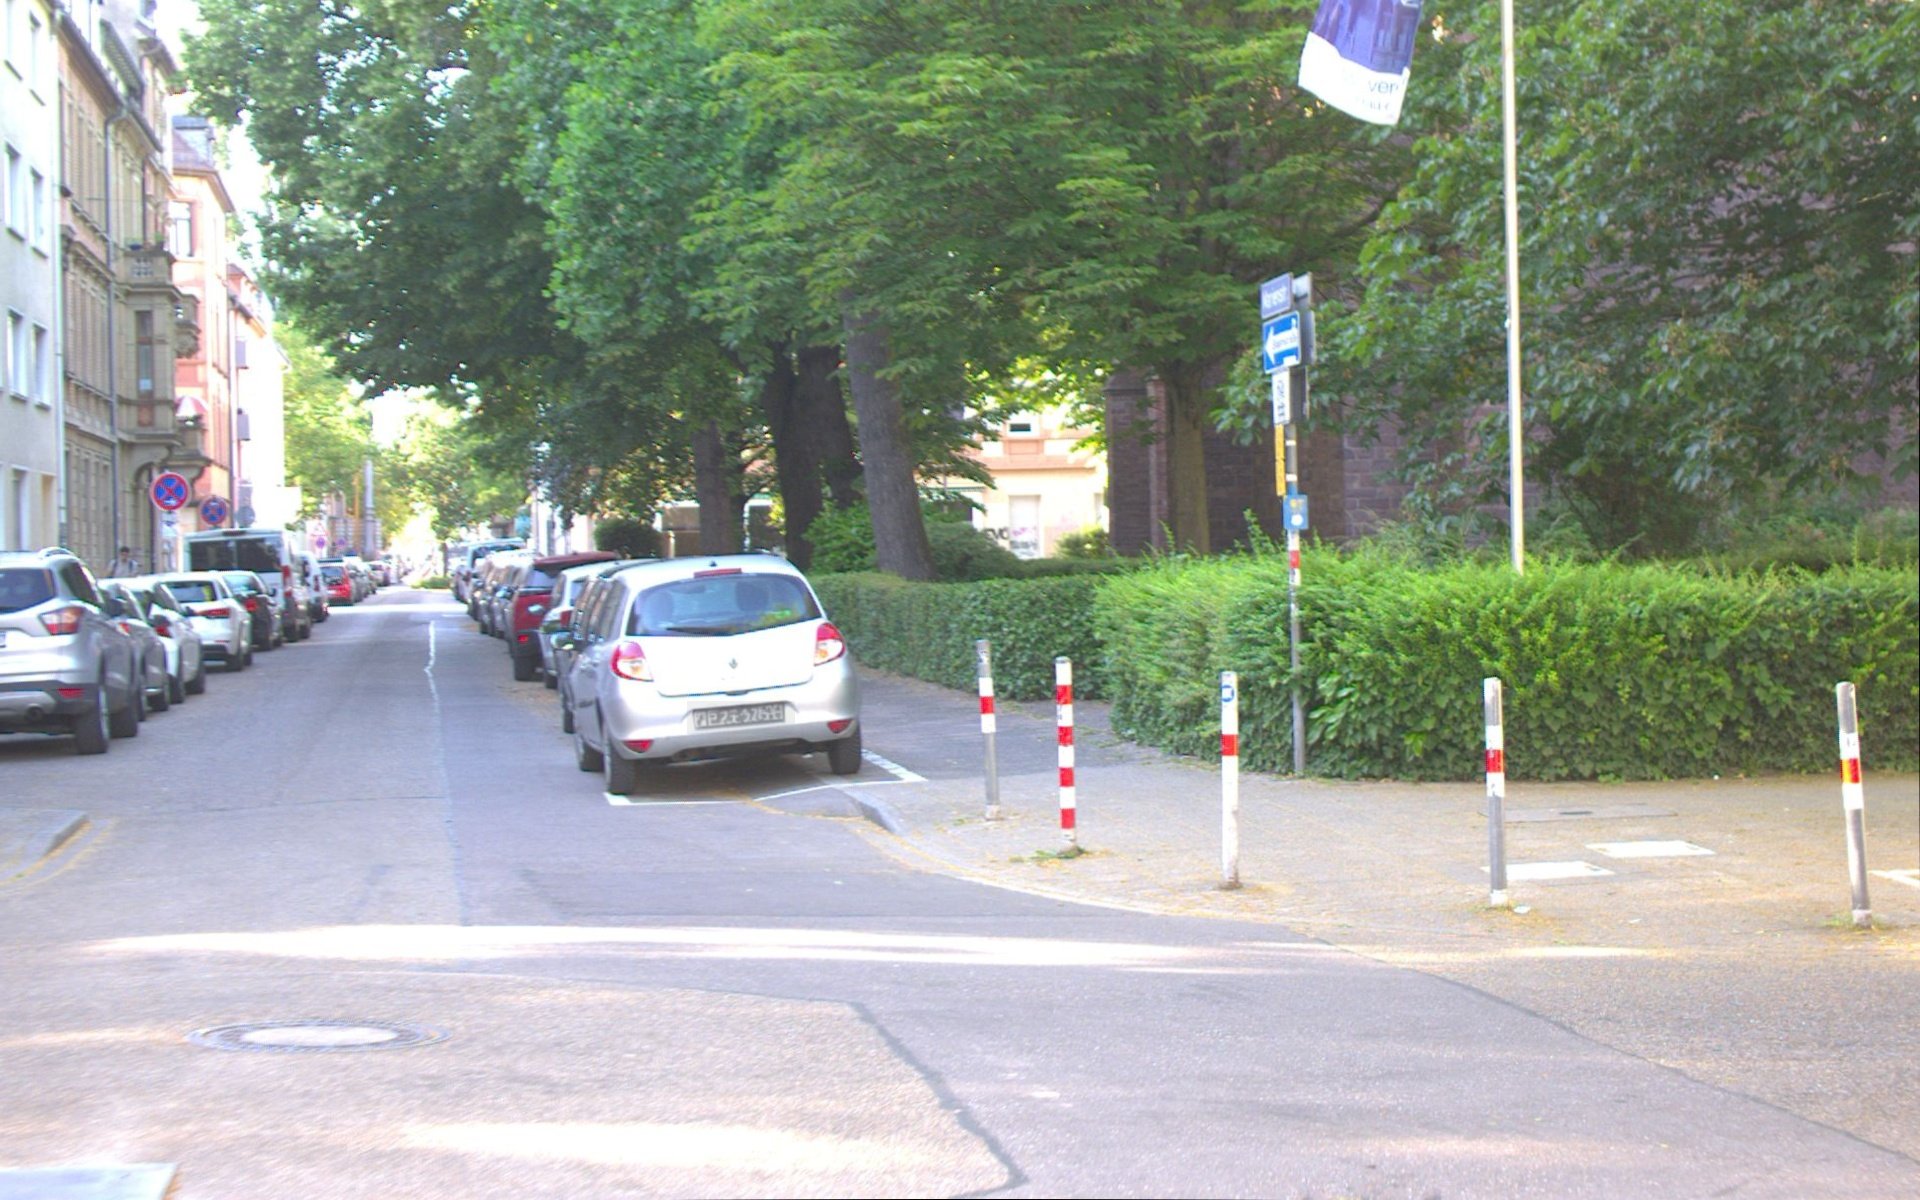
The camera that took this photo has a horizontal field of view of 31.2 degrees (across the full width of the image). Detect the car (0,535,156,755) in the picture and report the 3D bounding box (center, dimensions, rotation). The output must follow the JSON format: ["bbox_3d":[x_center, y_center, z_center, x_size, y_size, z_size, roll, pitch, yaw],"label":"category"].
[{"bbox_3d":[-7.983,0.367,29.036,1.881,1.701,4.001,-3,1,-8],"label":"car"}]

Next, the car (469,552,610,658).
[{"bbox_3d":[-6.704,0.060,54.493,1.993,1.568,4.001,-2,1,-10],"label":"car"}]

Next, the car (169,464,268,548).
[{"bbox_3d":[-15.423,-1.983,71.672,1.792,1.568,4.002,-2,4,-10],"label":"car"}]

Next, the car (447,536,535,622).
[{"bbox_3d":[-12.887,-0.575,94.272,2.160,2.248,4.527,-2,1,-10],"label":"car"}]

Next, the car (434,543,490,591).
[{"bbox_3d":[-19.054,-1.281,131.445,1.993,1.722,4.001,-2,1,-9],"label":"car"}]

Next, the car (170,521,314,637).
[{"bbox_3d":[-13.857,-0.407,66.596,2.308,2.107,5.171,-2,1,-8],"label":"car"}]

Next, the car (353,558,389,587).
[{"bbox_3d":[-34.872,-1.625,203.565,1.993,1.641,4.001,-2,1,-9],"label":"car"}]

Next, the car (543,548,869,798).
[{"bbox_3d":[-1.840,0.430,23.795,1.723,1.517,4.001,-2,1,-11],"label":"car"}]

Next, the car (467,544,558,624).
[{"bbox_3d":[-10.024,-0.373,76.825,1.829,1.698,4.001,-1,1,-10],"label":"car"}]

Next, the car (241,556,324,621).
[{"bbox_3d":[-17.118,-0.303,86.987,1.902,1.568,4.001,-2,1,-10],"label":"car"}]

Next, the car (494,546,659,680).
[{"bbox_3d":[-5.038,0.147,44.754,1.894,1.619,4.001,-1,1,-9],"label":"car"}]

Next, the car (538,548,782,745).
[{"bbox_3d":[-2.622,0.352,29.273,1.722,1.517,4.001,-2,1,-10],"label":"car"}]

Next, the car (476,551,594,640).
[{"bbox_3d":[-8.029,-0.092,64.710,1.993,1.568,4.001,-2,1,-10],"label":"car"}]

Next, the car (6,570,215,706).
[{"bbox_3d":[-9.798,0.400,39.900,1.881,1.406,4.001,-3,1,-8],"label":"car"}]

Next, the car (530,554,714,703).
[{"bbox_3d":[-3.987,0.287,40.025,1.841,1.590,4.001,-1,1,-9],"label":"car"}]

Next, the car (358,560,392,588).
[{"bbox_3d":[-36.131,-1.591,212.521,1.993,1.641,4.001,-2,1,-9],"label":"car"}]

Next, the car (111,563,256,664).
[{"bbox_3d":[-11.137,0.163,49.495,1.771,1.349,4.001,-1,1,-9],"label":"car"}]

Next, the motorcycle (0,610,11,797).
[{"bbox_3d":[-7.238,0.691,22.654,2.309,1.203,0.665,-1,1,40],"label":"motorcycle"}]

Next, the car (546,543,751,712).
[{"bbox_3d":[-3.215,0.251,34.889,1.740,1.568,4.001,-2,1,-10],"label":"car"}]

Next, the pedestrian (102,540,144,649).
[{"bbox_3d":[-15.598,-0.106,64.072,0.684,2.007,0.692,-2,0,-16],"label":"pedestrian"}]

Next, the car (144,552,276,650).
[{"bbox_3d":[-12.888,0.003,59.245,1.993,1.568,4.001,-2,1,-10],"label":"car"}]

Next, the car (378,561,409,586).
[{"bbox_3d":[-38.614,-1.823,234.322,1.993,1.641,4.001,-2,1,-9],"label":"car"}]

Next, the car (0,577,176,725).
[{"bbox_3d":[-9.117,0.486,35.437,1.725,1.388,4.001,-2,1,-9],"label":"car"}]
